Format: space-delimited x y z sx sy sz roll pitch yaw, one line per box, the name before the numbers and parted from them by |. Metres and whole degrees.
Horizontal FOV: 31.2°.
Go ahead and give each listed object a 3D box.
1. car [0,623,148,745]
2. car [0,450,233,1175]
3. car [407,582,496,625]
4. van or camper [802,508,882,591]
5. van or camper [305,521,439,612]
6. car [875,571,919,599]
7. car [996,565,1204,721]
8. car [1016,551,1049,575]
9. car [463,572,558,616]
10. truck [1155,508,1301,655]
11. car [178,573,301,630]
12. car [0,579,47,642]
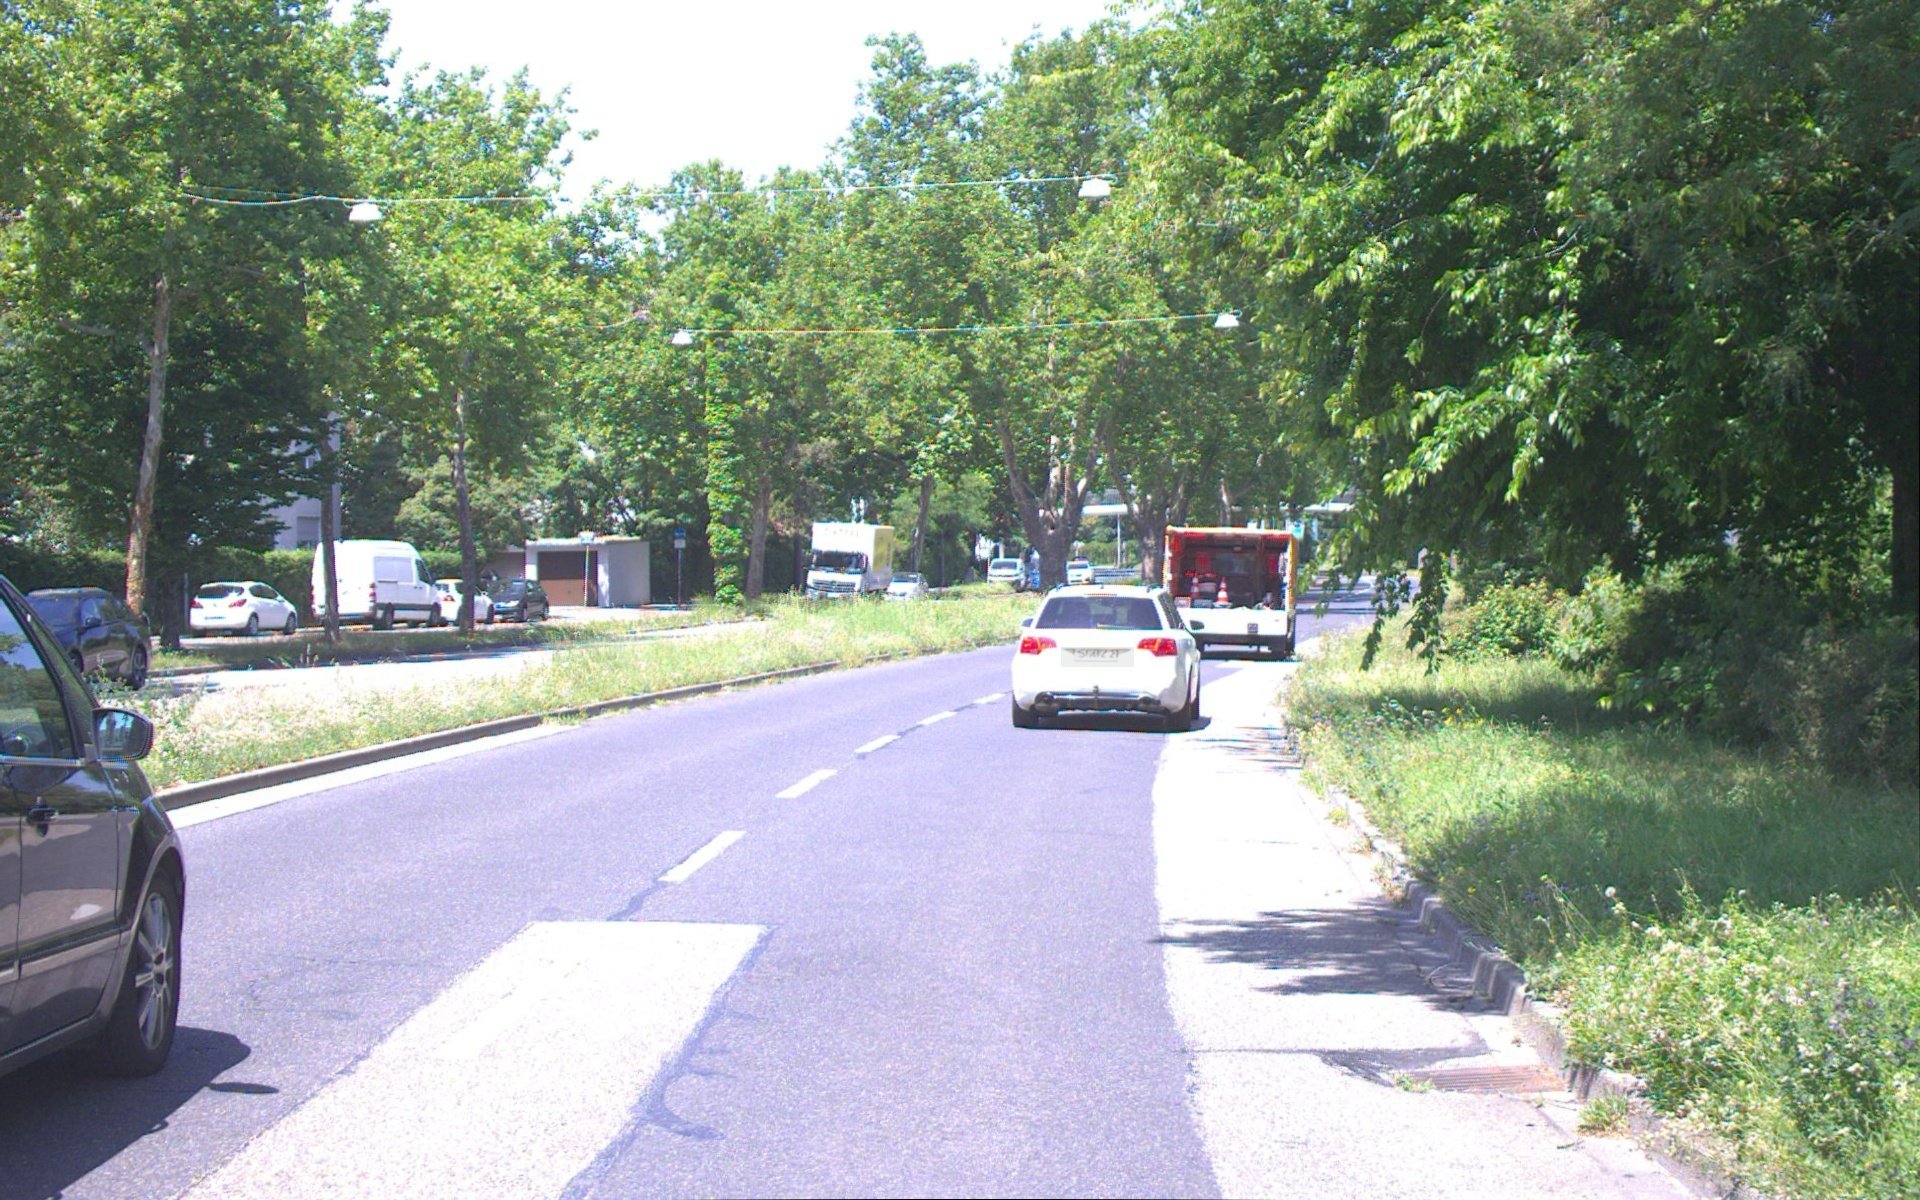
car | -12.897 1.126 47.628 1.812 1.501 4.593 -1 1 5
car | -3.237 0.504 8.537 1.854 1.749 4.649 0 1 0
car | -15.949 0.101 107.936 1.693 1.279 3.801 0 1 9
van or camper | -4.822 -2.073 141.296 2.661 3.320 5.499 0 1 5
van or camper | -17.325 -1.003 101.550 2.183 2.578 5.306 0 1 11
car | -2.847 -0.680 156.160 1.914 1.206 4.335 -1 1 0
car | 1.463 0.396 34.698 1.763 1.440 3.615 2 0 7
car | 4.029 -2.054 191.297 1.771 1.327 3.660 -1 1 0
car | -14.850 -0.219 113.733 1.830 1.386 3.945 0 1 13
truck | 5.057 -0.420 64.640 2.511 2.550 7.602 1 1 5
car | -19.343 0.025 92.452 1.882 1.469 3.998 0 1 10
car | -22.378 0.246 77.042 1.883 1.388 3.997 0 1 17
